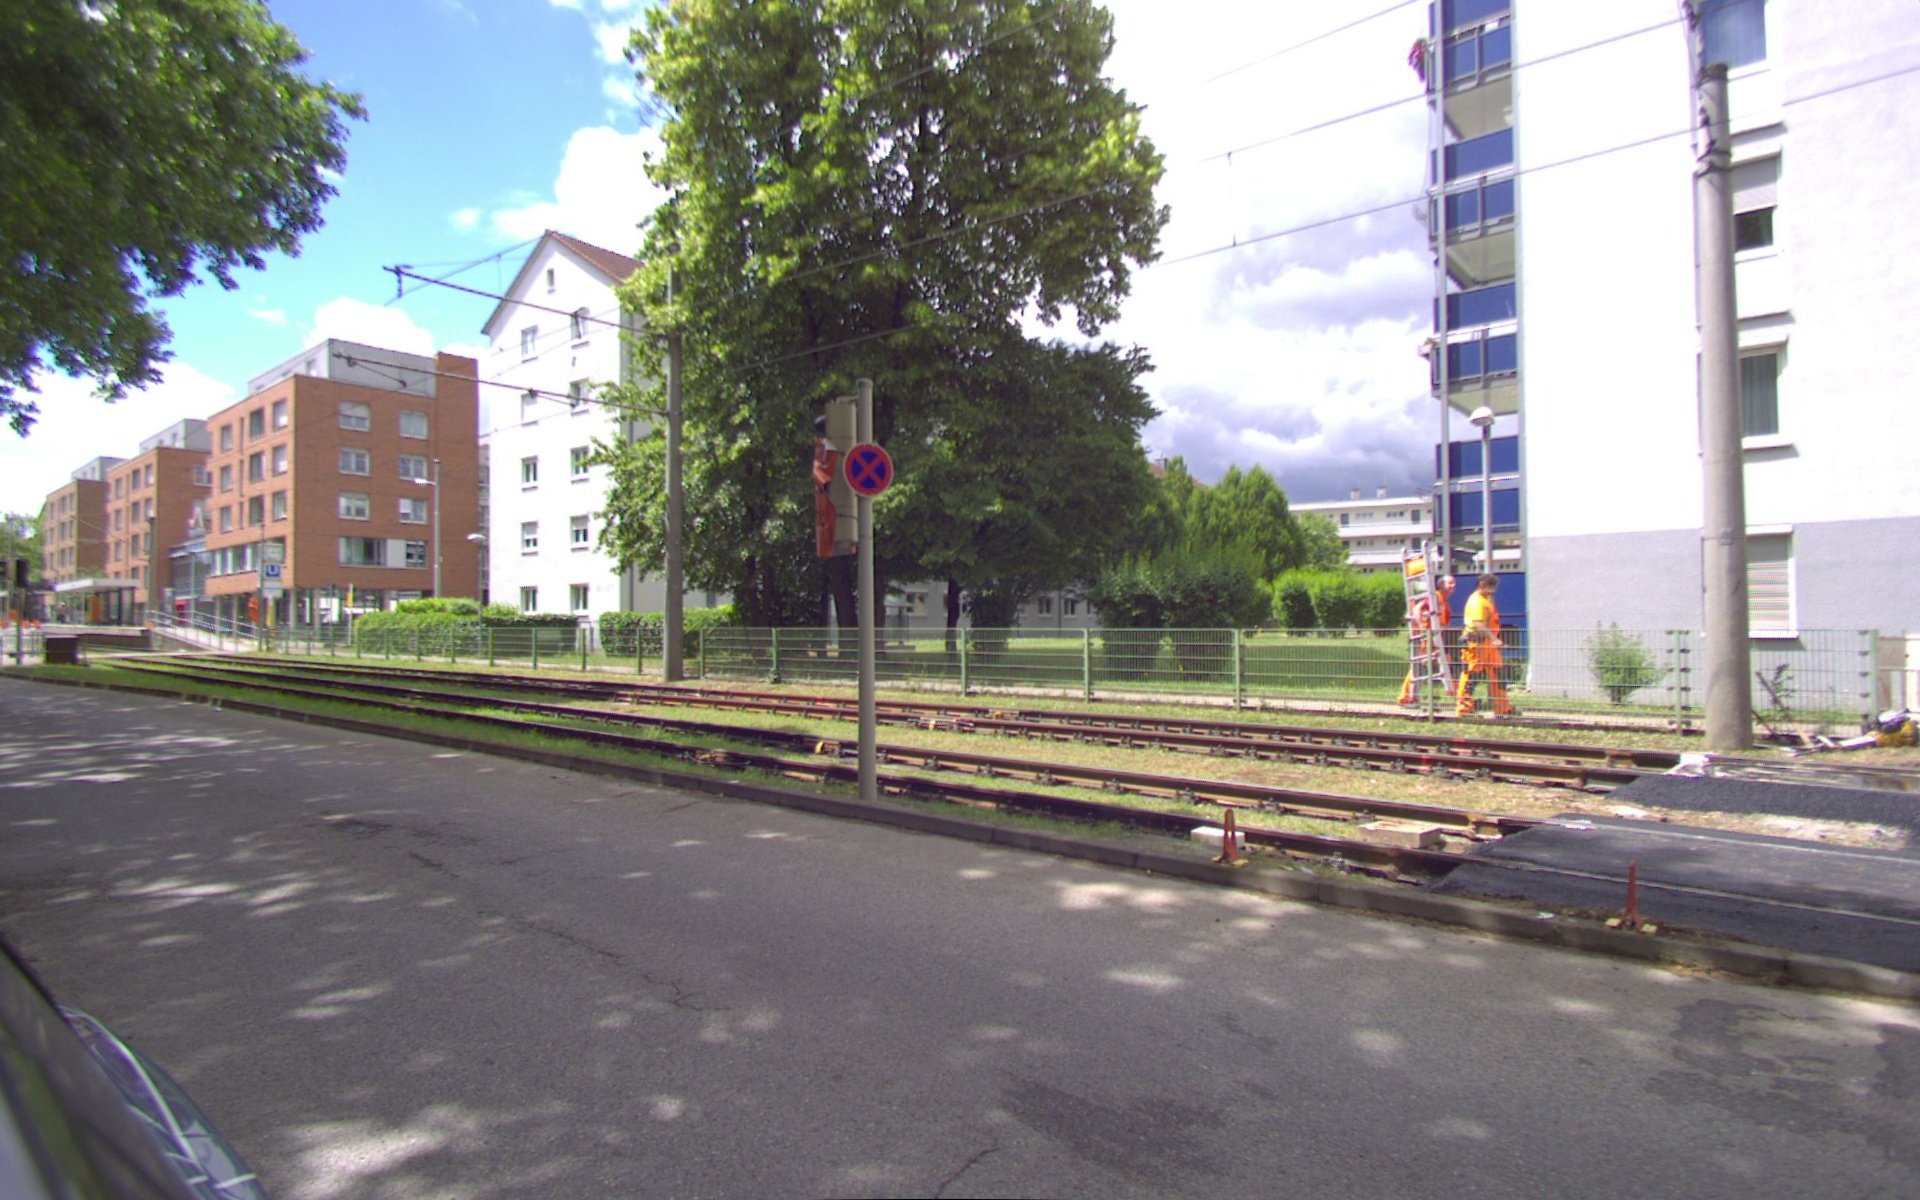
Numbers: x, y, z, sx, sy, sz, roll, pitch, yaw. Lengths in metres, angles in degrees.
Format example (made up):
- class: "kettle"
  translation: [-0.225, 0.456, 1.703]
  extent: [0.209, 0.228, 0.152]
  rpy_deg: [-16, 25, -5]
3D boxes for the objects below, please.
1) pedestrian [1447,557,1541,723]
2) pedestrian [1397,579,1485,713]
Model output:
- class: "pedestrian"
  translation: [6.468, 0.475, 12.265]
  extent: [0.879, 1.922, 0.659]
  rpy_deg: [-2, -1, 37]
- class: "pedestrian"
  translation: [6.352, 0.587, 13.370]
  extent: [0.880, 1.696, 0.658]
  rpy_deg: [-2, -1, 40]
